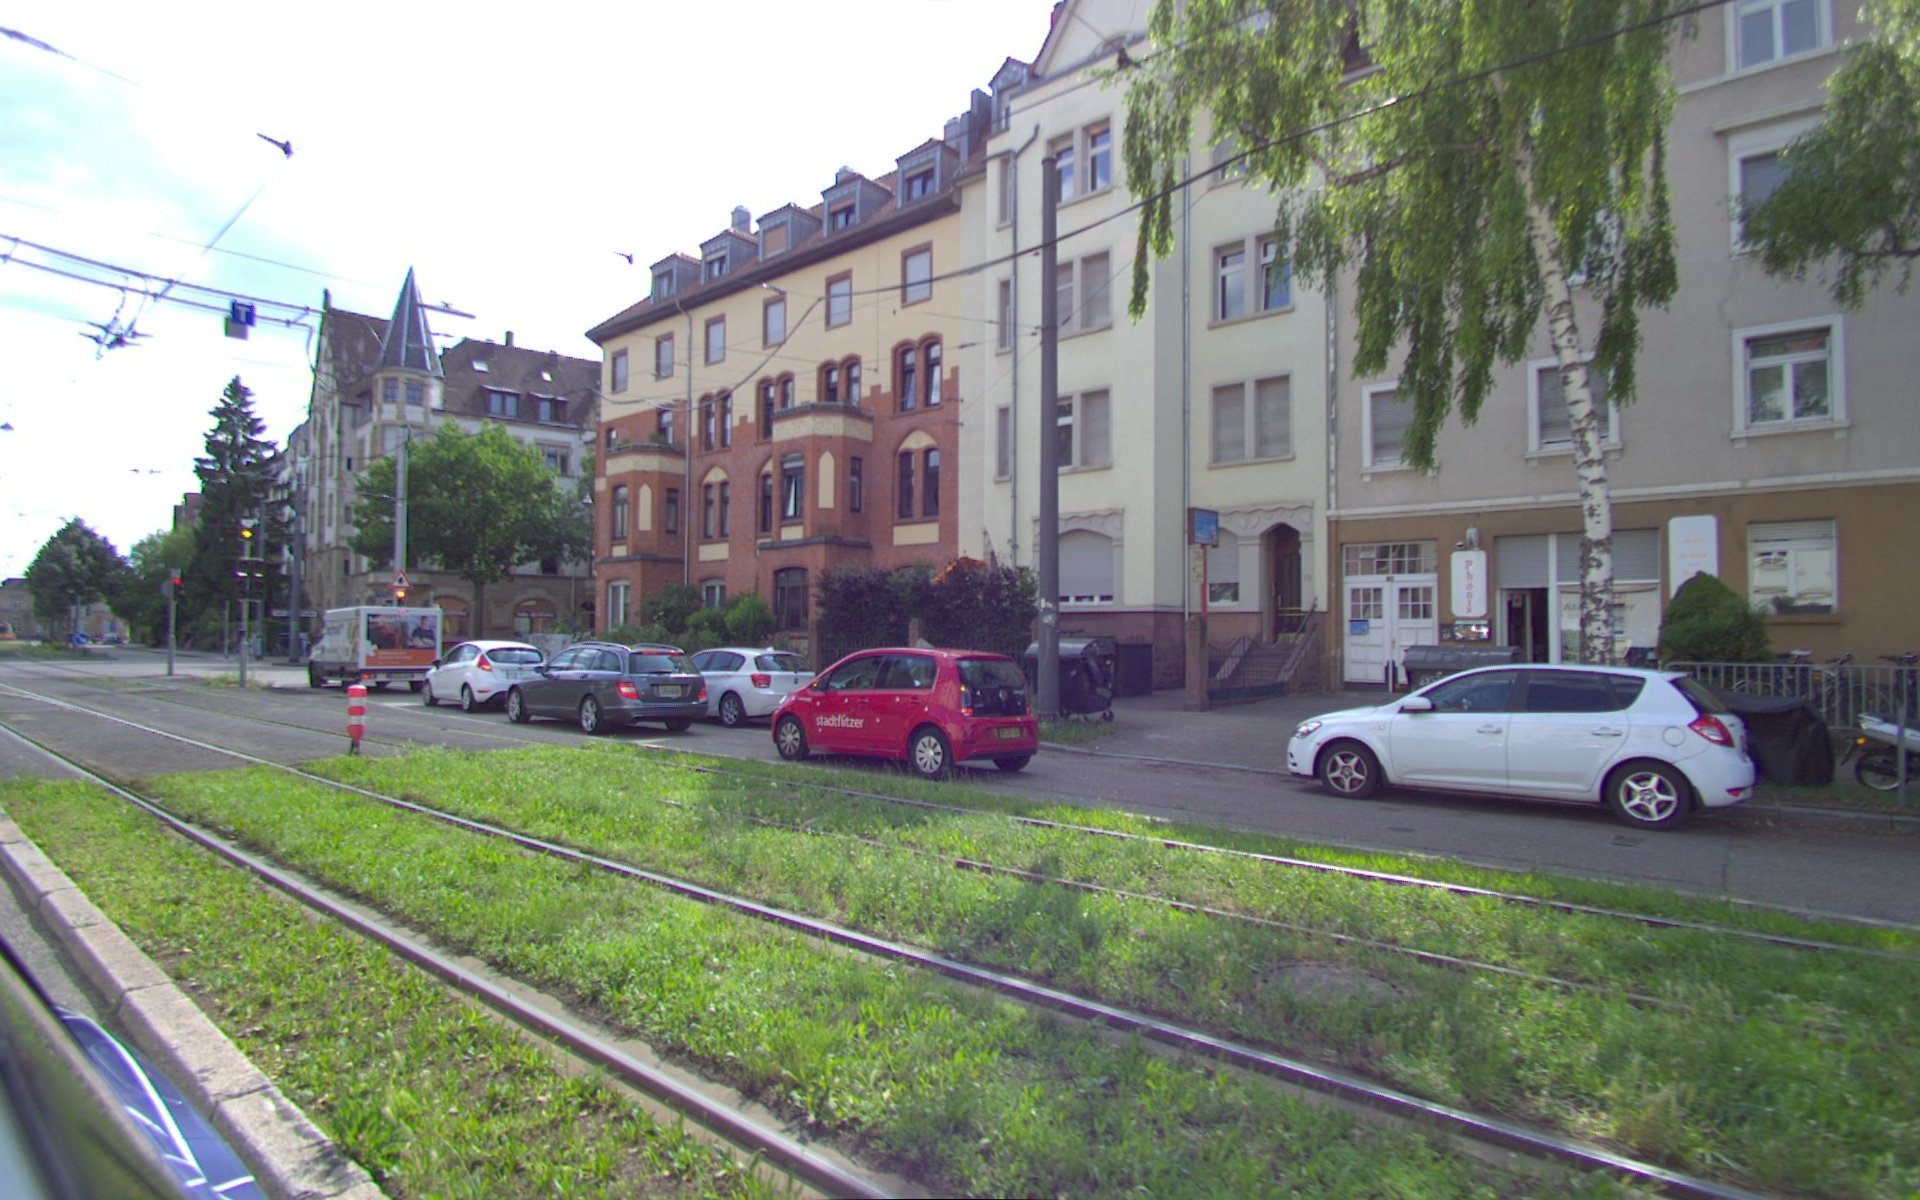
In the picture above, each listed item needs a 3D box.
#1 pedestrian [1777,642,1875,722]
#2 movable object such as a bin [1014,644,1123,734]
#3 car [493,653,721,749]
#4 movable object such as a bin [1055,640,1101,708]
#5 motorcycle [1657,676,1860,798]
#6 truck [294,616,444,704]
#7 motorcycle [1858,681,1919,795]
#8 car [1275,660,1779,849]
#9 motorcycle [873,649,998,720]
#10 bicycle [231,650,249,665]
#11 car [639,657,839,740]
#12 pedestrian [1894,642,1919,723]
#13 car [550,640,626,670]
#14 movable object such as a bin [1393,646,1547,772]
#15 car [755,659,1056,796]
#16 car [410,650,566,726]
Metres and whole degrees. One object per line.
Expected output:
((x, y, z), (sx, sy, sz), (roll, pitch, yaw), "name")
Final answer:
((13.518, 1.247, 15.769), (1.066, 1.147, 2.378), (-2, -4, 42), "pedestrian")
((1.849, 1.497, 17.380), (1.521, 1.377, 0.941), (-2, 3, 41), "movable object such as a bin")
((-6.108, 1.627, 17.218), (4.512, 1.366, 1.735), (-2, -5, 43), "car")
((2.439, 1.505, 20.899), (0.698, 1.372, 0.666), (-2, -3, 38), "movable object such as a bin")
((8.501, 1.412, 10.841), (1.632, 1.161, 0.727), (-2, -4, 40), "motorcycle")
((-17.034, 1.686, 28.971), (2.159, 2.231, 6.617), (4, -4, -44), "truck")
((9.764, 1.359, 9.758), (1.632, 1.050, 0.494), (-1, 1, 41), "motorcycle")
((5.567, 1.395, 10.323), (4.224, 1.489, 1.627), (-2, -5, 42), "car")
((-0.487, 1.544, 19.020), (2.290, 1.252, 0.892), (-2, -3, 36), "motorcycle")
((-47.858, 3.797, 67.270), (0.616, 0.979, 2.337), (3, -4, -45), "bicycle")
((-4.250, 1.774, 19.118), (3.995, 1.366, 1.736), (-2, -4, 43), "car")
((14.612, 1.193, 14.968), (1.130, 1.138, 2.485), (-2, -3, 42), "pedestrian")
((-22.965, 3.406, 62.495), (3.936, 1.835, 2.003), (3, -4, -40), "car")
((6.430, 1.318, 12.783), (1.521, 1.440, 0.941), (-2, -1, 41), "movable object such as a bin")
((-0.765, 1.438, 12.436), (3.692, 1.397, 1.562), (-2, -4, 42), "car")
((-10.172, 1.818, 21.663), (1.734, 1.425, 4.136), (5, -5, -44), "car")
